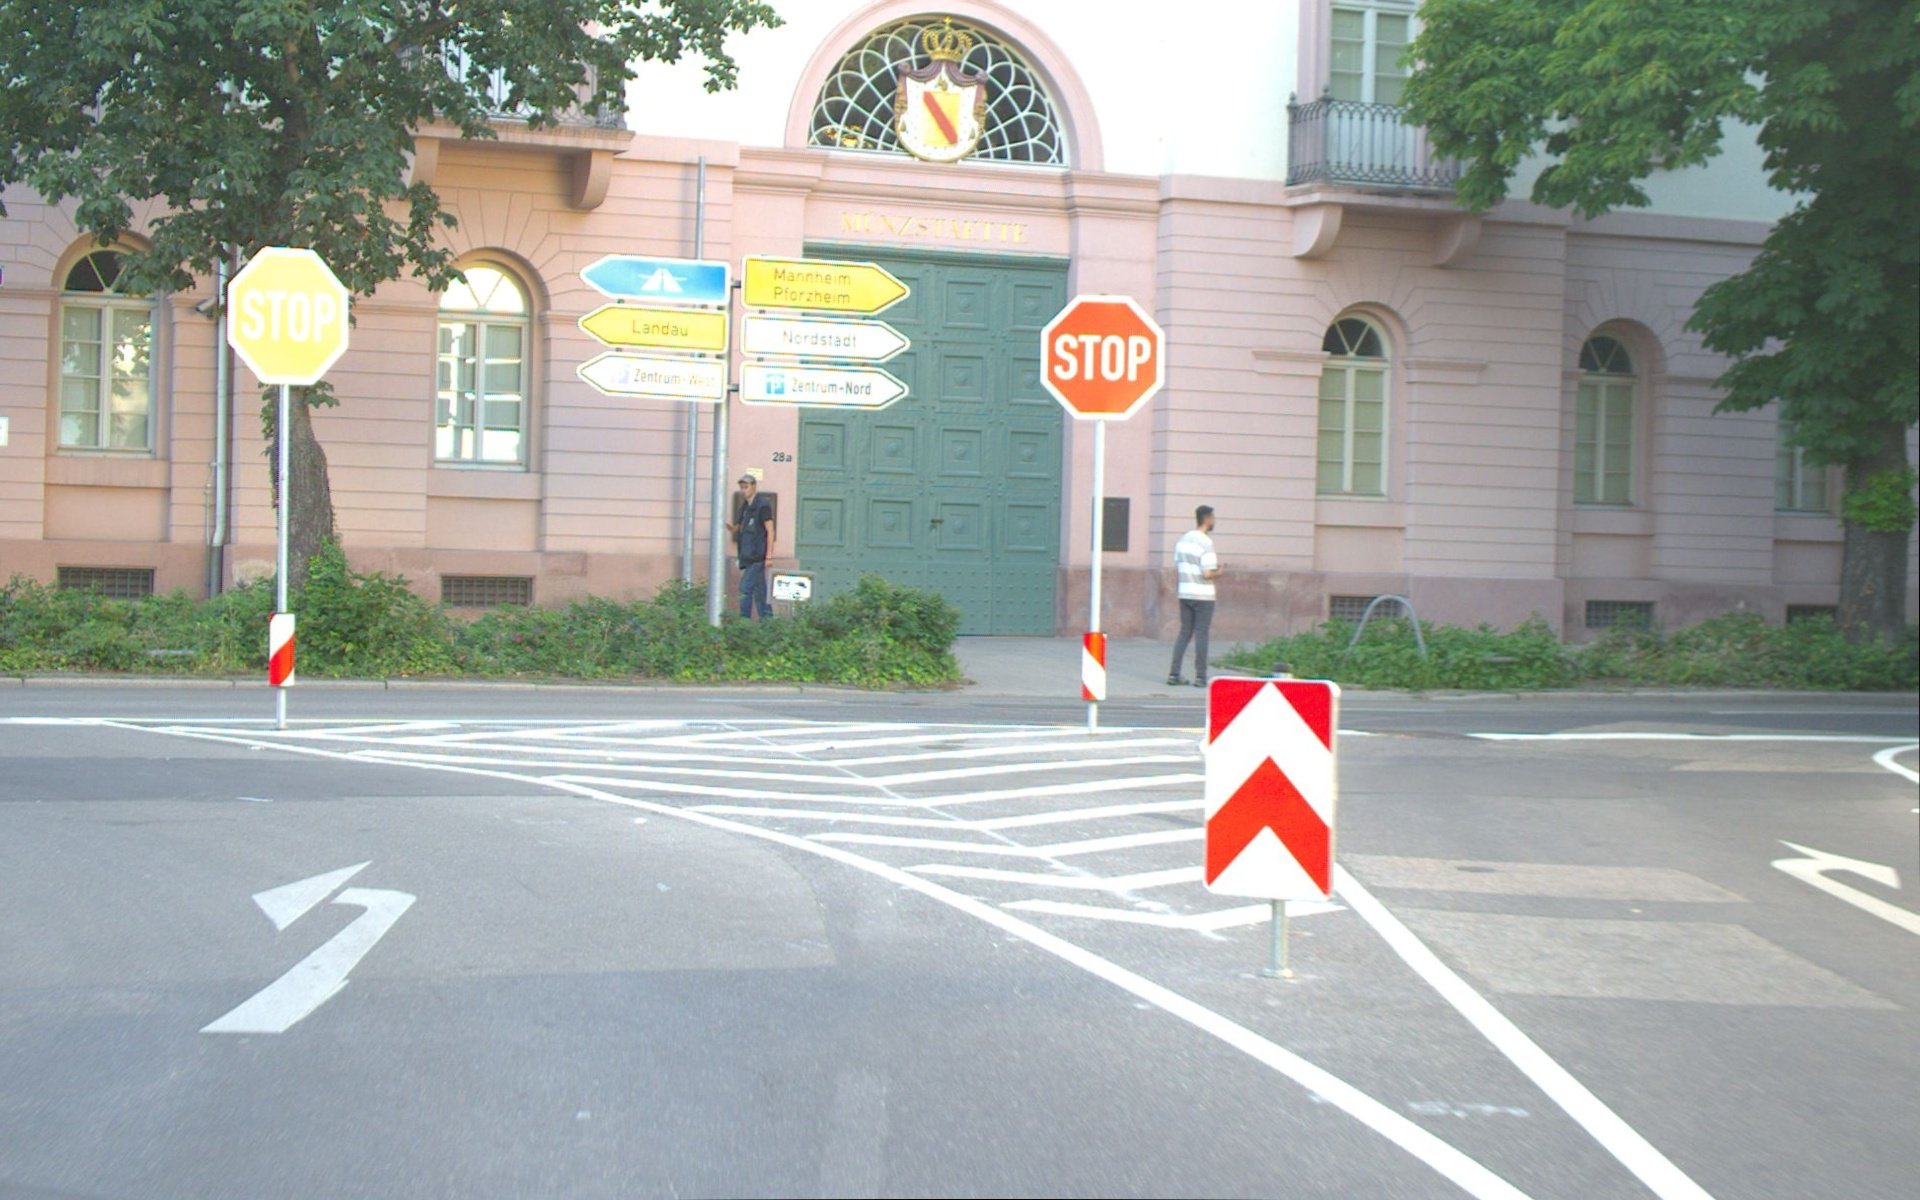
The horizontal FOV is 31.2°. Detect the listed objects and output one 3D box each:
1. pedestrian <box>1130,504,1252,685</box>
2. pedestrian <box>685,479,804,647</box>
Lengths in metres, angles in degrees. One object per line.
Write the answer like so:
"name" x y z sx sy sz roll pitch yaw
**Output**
"pedestrian" 2.369 -0.060 35.331 0.926 1.825 0.801 1 1 -26
"pedestrian" -2.403 -0.415 38.305 1.079 1.832 0.801 1 1 -22
